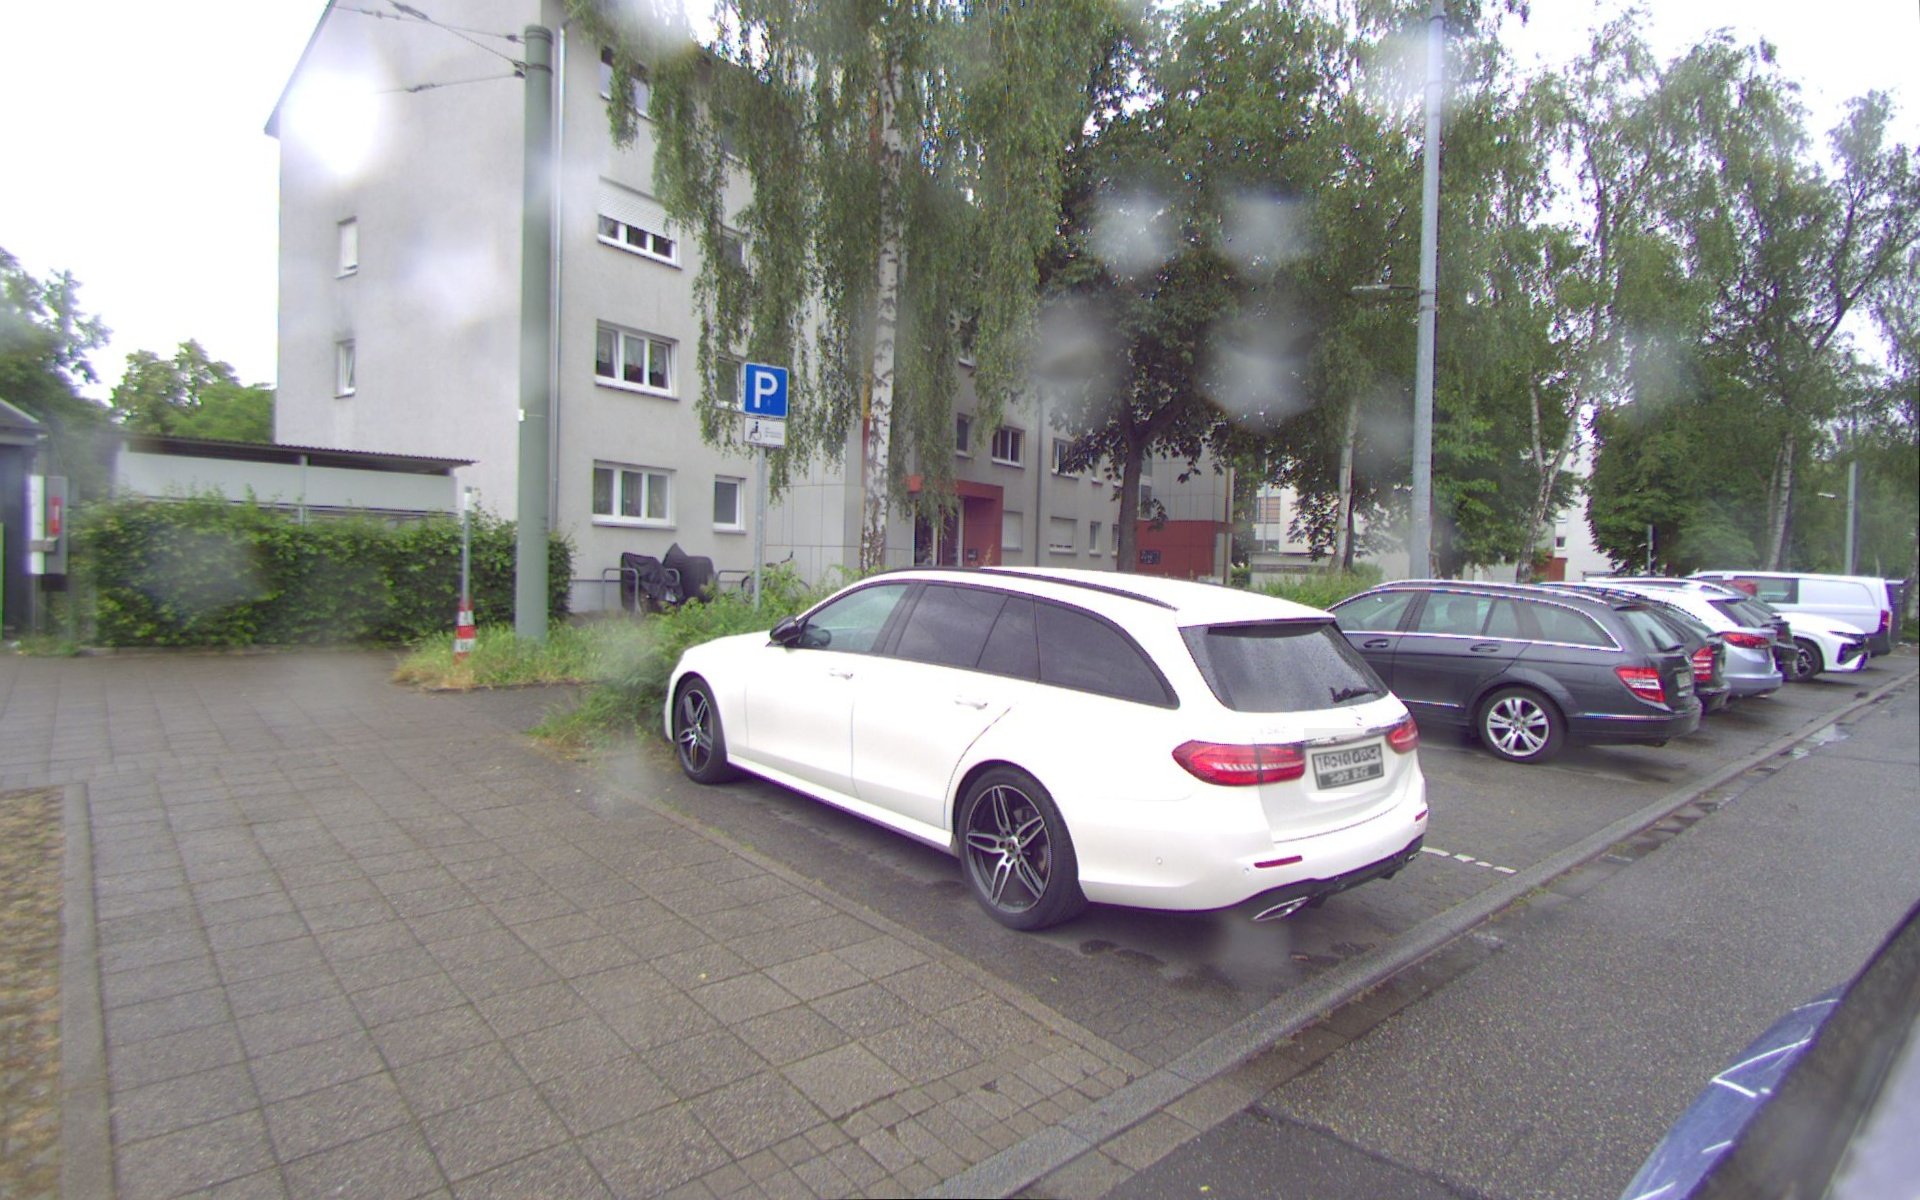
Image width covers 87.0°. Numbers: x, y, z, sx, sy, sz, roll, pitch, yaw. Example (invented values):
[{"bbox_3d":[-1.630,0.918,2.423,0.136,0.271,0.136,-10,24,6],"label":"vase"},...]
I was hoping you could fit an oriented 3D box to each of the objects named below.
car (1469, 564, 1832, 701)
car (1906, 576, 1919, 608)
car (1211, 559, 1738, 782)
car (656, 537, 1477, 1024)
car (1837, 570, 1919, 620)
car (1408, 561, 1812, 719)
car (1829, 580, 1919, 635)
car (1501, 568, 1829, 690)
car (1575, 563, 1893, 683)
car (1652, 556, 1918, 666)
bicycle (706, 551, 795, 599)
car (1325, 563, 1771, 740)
[{"bbox_3d":[9.864,0.343,14.705,1.653,1.514,4.044,-1,5,-43],"label":"car"},{"bbox_3d":[53.222,-0.426,53.809,1.866,1.701,3.998,-1,1,-36],"label":"car"},{"bbox_3d":[4.589,0.451,9.501,1.653,1.456,4.044,-1,5,-43],"label":"car"},{"bbox_3d":[0.083,0.479,5.602,1.651,1.456,4.623,-1,5,-40],"label":"car"},{"bbox_3d":[37.805,-0.221,40.345,1.866,1.937,3.998,-1,0,-36],"label":"car"},{"bbox_3d":[8.184,0.372,13.035,1.653,1.514,4.044,-1,5,-43],"label":"car"},{"bbox_3d":[34.479,0.244,36.845,1.866,1.937,3.998,-1,0,-36],"label":"car"},{"bbox_3d":[11.270,0.349,16.392,1.653,1.514,4.044,-1,5,-43],"label":"car"},{"bbox_3d":[13.711,0.298,18.152,1.651,1.637,4.181,0,5,-40],"label":"car"},{"bbox_3d":[17.539,0.136,21.672,4.172,1.888,1.654,7,6,43],"label":"car"},{"bbox_3d":[-4.522,-0.525,21.973,0.701,1.005,1.918,0,0,37],"label":"bicycle"},{"bbox_3d":[6.499,0.424,11.535,1.653,1.456,4.044,-1,5,-43],"label":"car"}]
